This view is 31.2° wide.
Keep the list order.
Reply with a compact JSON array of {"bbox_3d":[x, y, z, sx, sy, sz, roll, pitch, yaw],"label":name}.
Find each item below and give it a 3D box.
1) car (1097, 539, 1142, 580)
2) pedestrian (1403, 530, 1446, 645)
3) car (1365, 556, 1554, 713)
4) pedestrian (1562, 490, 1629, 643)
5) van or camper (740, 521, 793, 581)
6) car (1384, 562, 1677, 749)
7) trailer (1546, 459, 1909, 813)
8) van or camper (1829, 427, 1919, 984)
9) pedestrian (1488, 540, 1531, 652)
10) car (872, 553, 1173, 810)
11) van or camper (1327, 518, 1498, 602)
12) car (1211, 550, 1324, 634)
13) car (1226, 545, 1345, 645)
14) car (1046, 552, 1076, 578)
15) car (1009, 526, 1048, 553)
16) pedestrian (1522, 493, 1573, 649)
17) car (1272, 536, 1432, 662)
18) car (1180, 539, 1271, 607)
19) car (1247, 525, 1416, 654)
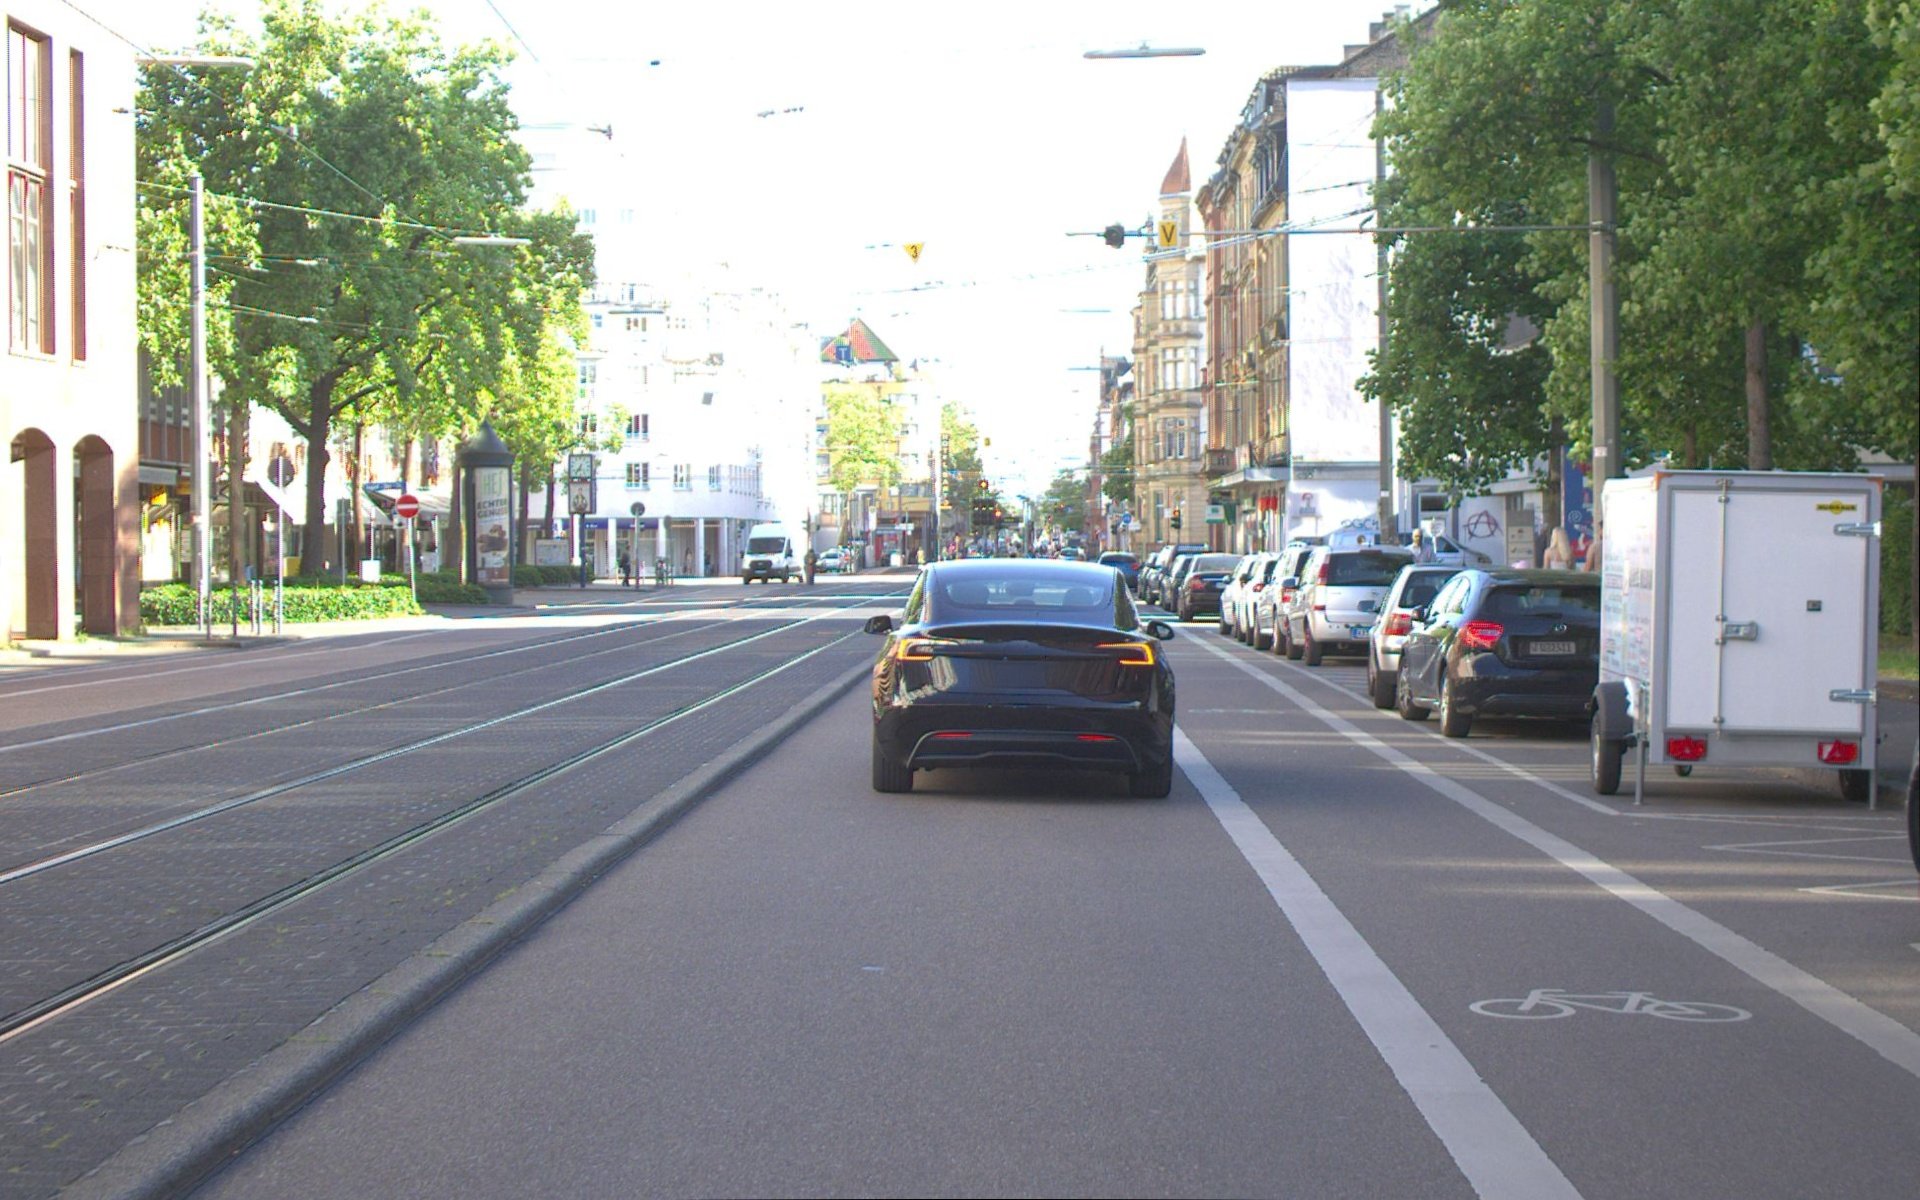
[{"bbox_3d":[5.869,-1.505,126.713,1.593,1.428,3.686,-1,1,2],"label":"car"},{"bbox_3d":[7.362,-0.208,54.514,0.611,1.802,0.602,-2,1,6],"label":"pedestrian"},{"bbox_3d":[5.071,0.302,35.339,1.750,1.438,4.314,0,2,6],"label":"car"},{"bbox_3d":[8.099,-0.428,43.822,0.669,1.891,0.747,-4,1,7],"label":"pedestrian"},{"bbox_3d":[-8.765,-2.228,156.347,2.139,2.645,6.881,-1,1,-1],"label":"van or camper"},{"bbox_3d":[4.923,0.429,30.225,1.802,1.430,4.324,2,1,0],"label":"car"},{"bbox_3d":[4.965,0.179,22.712,1.661,2.109,3.842,1,1,3],"label":"trailer"},{"bbox_3d":[4.520,0.436,11.173,1.970,2.038,5.332,1,1,0],"label":"van or camper"},{"bbox_3d":[7.040,-0.051,44.050,0.456,1.393,0.423,-3,2,6],"label":"pedestrian"},{"bbox_3d":[0.368,0.446,21.703,1.719,1.400,3.710,1,2,0],"label":"car"},{"bbox_3d":[12.841,-1.141,97.729,4.645,2.129,1.987,-3,1,6],"label":"van or camper"},{"bbox_3d":[5.611,-0.174,63.018,1.601,1.438,3.885,2,1,-1],"label":"car"},{"bbox_3d":[5.443,-0.117,57.892,1.541,1.564,4.443,1,1,0],"label":"car"},{"bbox_3d":[6.584,-2.313,223.677,1.846,1.587,4.000,-1,1,2],"label":"car"},{"bbox_3d":[3.970,-3.537,200.978,1.993,1.520,4.001,0,1,-3],"label":"car"},{"bbox_3d":[7.512,-0.372,43.976,0.465,1.947,0.747,-4,0,7],"label":"pedestrian"},{"bbox_3d":[5.347,-0.052,47.322,1.713,1.585,4.065,1,2,0],"label":"car"},{"bbox_3d":[5.845,-0.625,76.055,1.711,1.452,4.550,1,1,1],"label":"car"},{"bbox_3d":[5.583,-0.208,52.162,1.925,1.828,4.712,0,2,-1],"label":"car"}]
